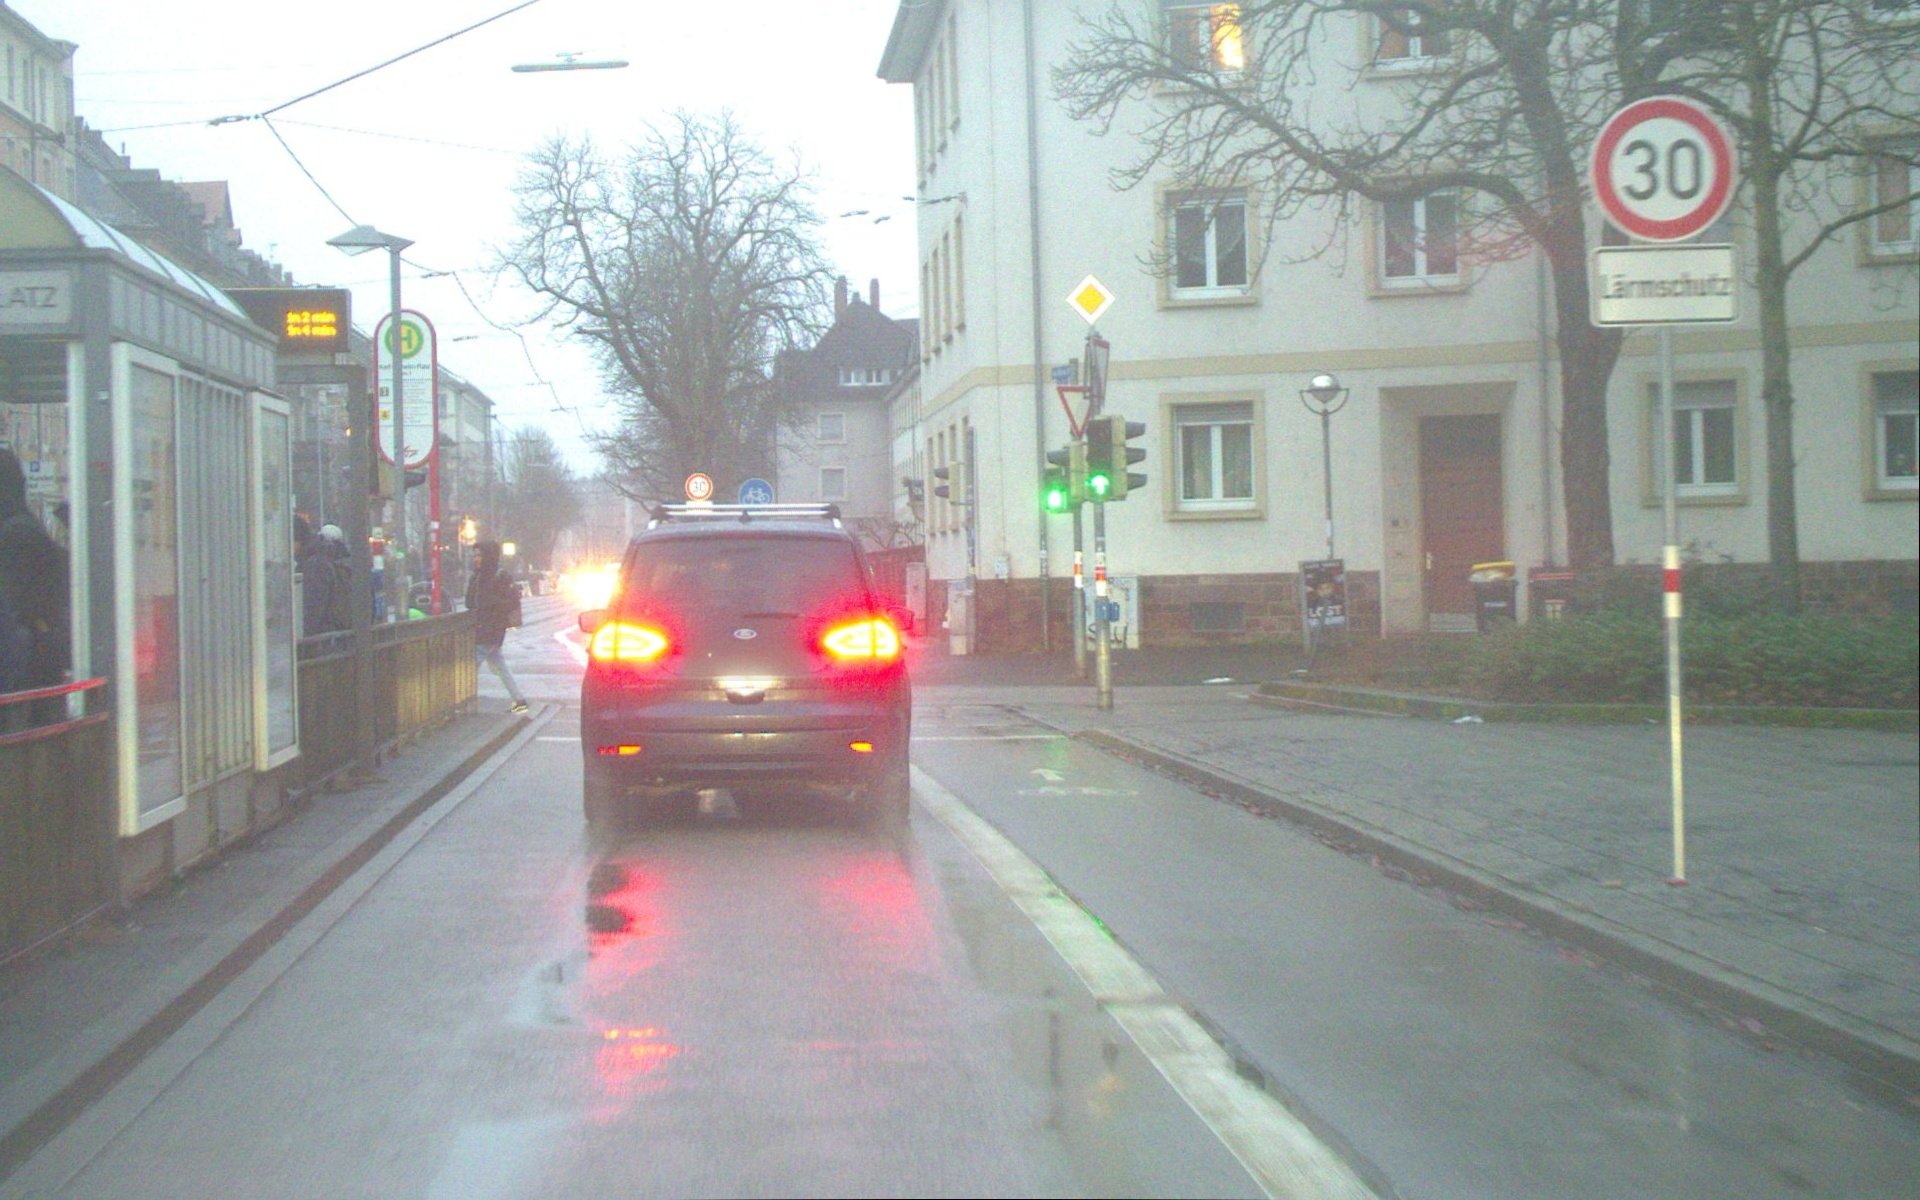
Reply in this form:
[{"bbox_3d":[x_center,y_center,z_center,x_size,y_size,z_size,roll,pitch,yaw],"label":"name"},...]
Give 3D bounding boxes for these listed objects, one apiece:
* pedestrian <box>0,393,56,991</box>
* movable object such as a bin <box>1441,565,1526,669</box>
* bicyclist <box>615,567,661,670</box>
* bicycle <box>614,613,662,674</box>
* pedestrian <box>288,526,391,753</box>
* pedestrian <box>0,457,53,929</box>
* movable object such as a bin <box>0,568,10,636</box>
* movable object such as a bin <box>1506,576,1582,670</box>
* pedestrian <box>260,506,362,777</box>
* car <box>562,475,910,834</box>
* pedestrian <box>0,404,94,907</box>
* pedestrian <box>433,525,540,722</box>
[{"bbox_3d":[-3.539,0.286,11.477,0.853,1.949,0.571,2,0,-3],"label":"pedestrian"},{"bbox_3d":[6.456,0.209,42.390,0.853,1.247,0.521,2,0,39],"label":"movable object such as a bin"},{"bbox_3d":[-5.455,0.303,58.312,0.730,1.731,0.766,-1,0,-3],"label":"bicyclist"},{"bbox_3d":[-5.462,0.727,58.384,0.731,1.003,1.764,-1,0,-3],"label":"bicycle"},{"bbox_3d":[-4.754,0.300,26.366,0.657,1.702,0.571,2,0,-3],"label":"pedestrian"},{"bbox_3d":[-3.777,0.333,12.915,0.557,1.735,0.571,2,0,-3],"label":"pedestrian"},{"bbox_3d":[-22.898,0.036,79.934,1.244,1.580,1.307,0,0,1],"label":"movable object such as a bin"},{"bbox_3d":[7.114,0.284,41.885,0.700,1.116,0.537,2,0,38],"label":"movable object such as a bin"},{"bbox_3d":[-4.399,0.276,23.317,0.557,1.801,0.571,2,0,-3],"label":"pedestrian"},{"bbox_3d":[-1.293,0.283,20.424,1.801,1.864,4.018,2,0,-3],"label":"car"},{"bbox_3d":[-3.859,0.214,13.861,0.557,1.980,0.571,2,0,-3],"label":"pedestrian"},{"bbox_3d":[-4.673,0.234,33.924,0.716,1.911,0.688,2,0,-43],"label":"pedestrian"}]
